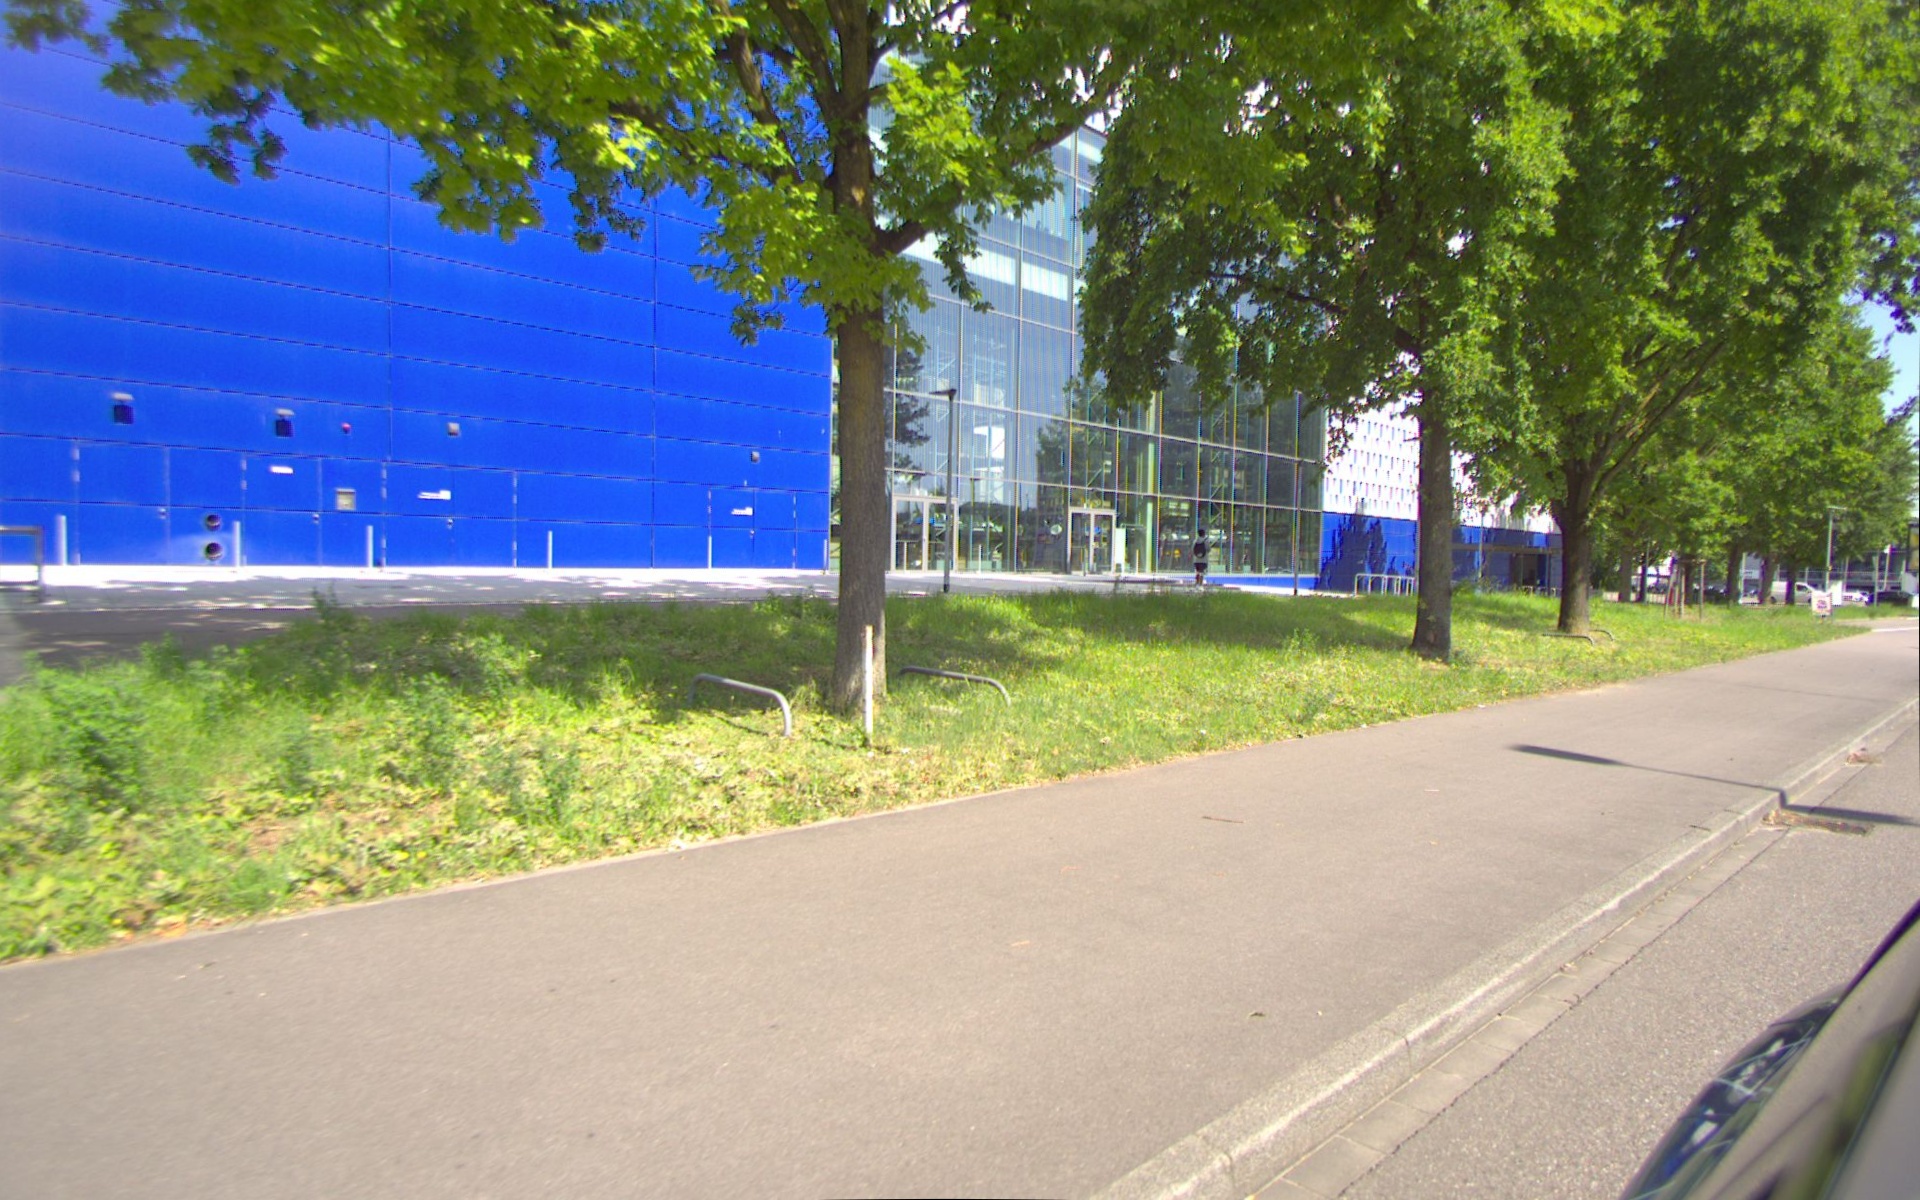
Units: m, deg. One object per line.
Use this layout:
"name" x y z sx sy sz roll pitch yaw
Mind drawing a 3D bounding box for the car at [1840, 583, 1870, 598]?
"car" 90.502 -0.928 102.323 4.046 1.440 2.000 0 0 -44

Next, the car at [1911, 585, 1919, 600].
"car" 95.186 -0.660 98.053 1.791 1.366 4.344 0 3 -43

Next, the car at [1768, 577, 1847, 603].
"car" 73.631 -0.916 87.983 1.712 2.031 4.991 -2 4 -42

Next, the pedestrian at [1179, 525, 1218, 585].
"pedestrian" 6.586 -1.238 27.924 0.688 1.631 0.759 4 3 45
